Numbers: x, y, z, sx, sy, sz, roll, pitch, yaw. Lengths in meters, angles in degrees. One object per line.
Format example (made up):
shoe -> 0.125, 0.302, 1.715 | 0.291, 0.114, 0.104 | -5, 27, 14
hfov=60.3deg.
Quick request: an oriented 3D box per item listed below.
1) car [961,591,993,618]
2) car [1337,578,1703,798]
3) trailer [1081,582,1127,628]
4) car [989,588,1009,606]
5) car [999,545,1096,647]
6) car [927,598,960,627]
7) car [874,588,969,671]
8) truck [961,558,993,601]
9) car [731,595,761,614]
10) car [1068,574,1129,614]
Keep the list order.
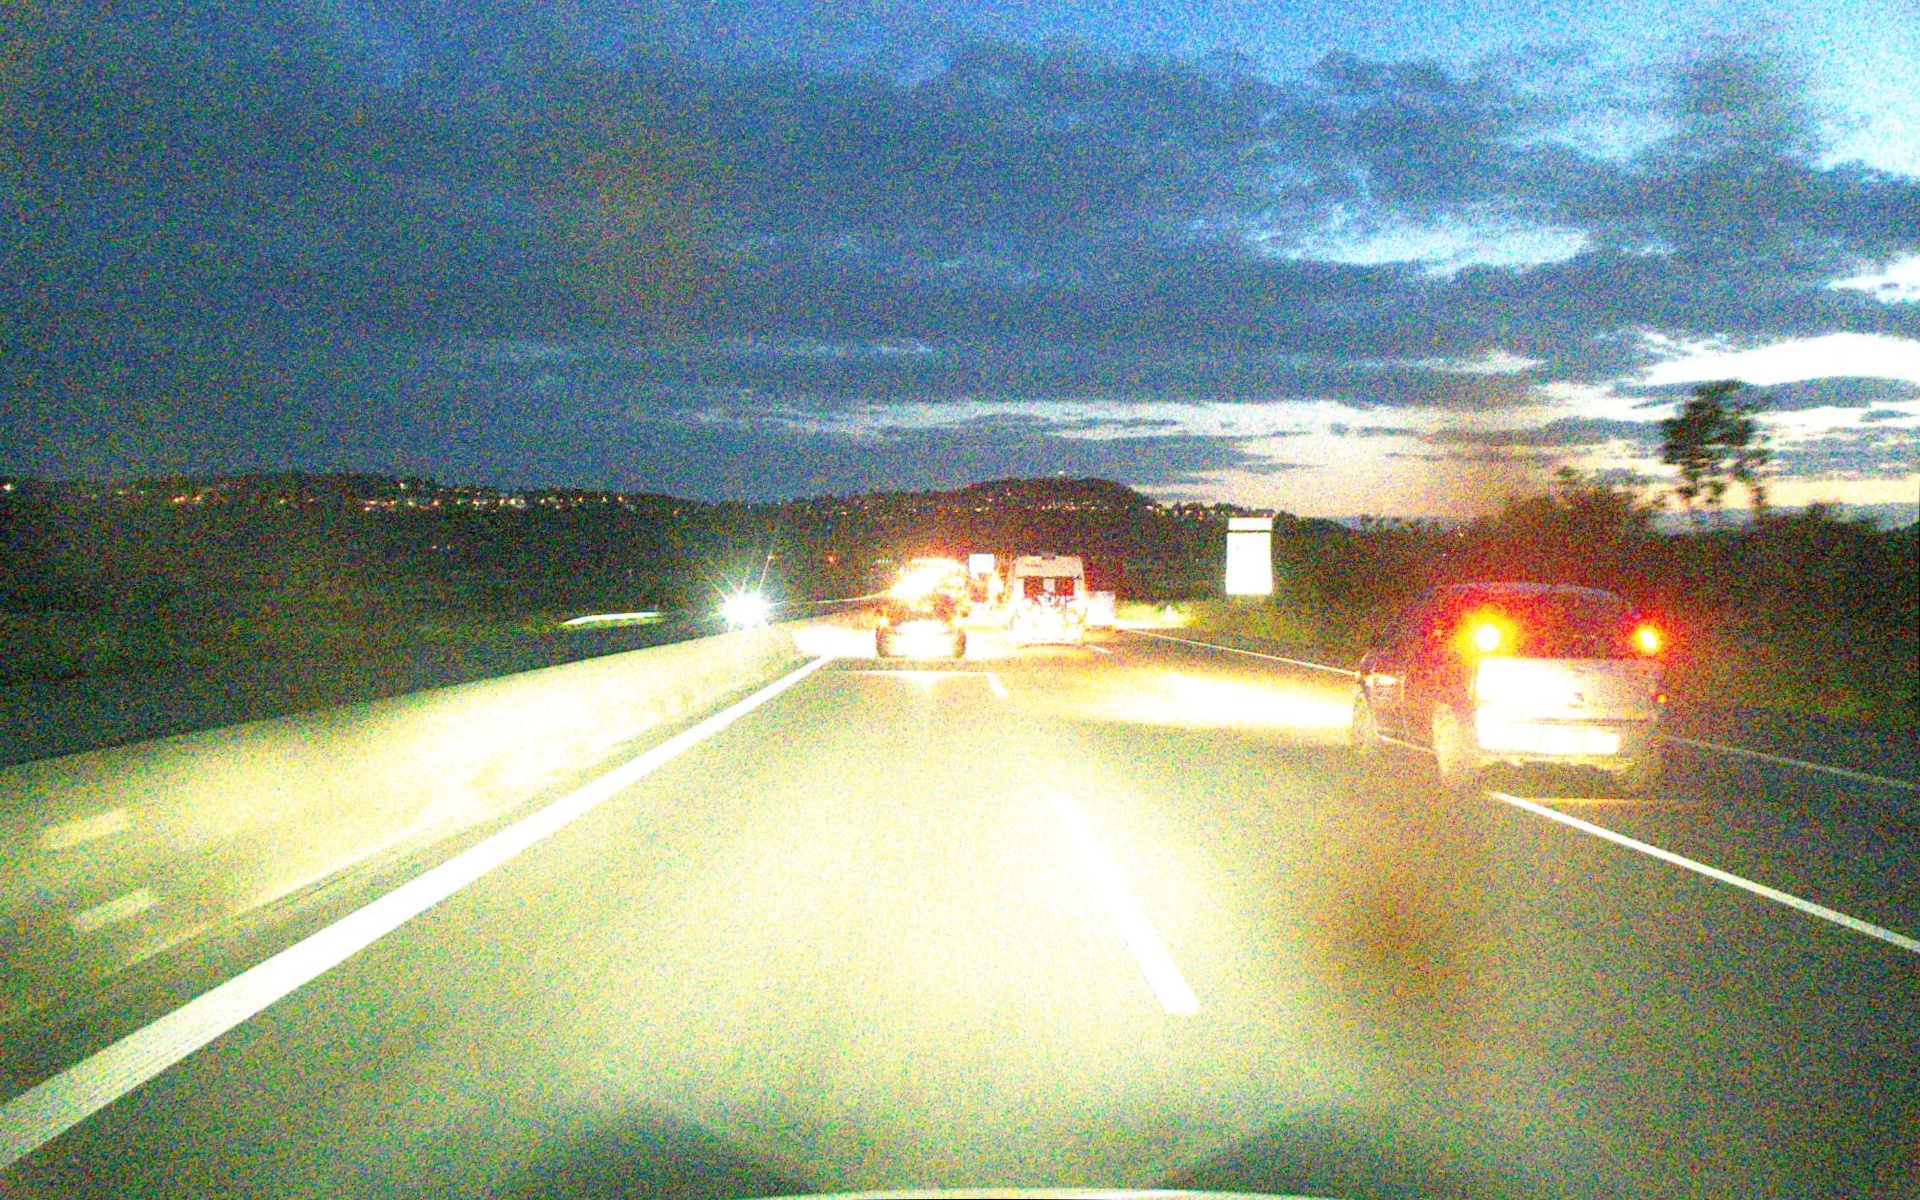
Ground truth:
car -> 1.264, 0.318, 123.003 | 2.303, 1.947, 4.722 | -1, 0, 0
car -> 4.655, 0.641, 14.480 | 1.613, 1.624, 4.509 | 0, 0, -1
trailer -> 5.597, 0.186, 64.517 | 1.534, 1.723, 2.820 | -1, 0, -1
car -> 4.727, -0.349, 201.137 | 2.303, 2.112, 4.723 | -1, 1, 0
car -> 2.334, -0.143, 45.692 | 2.303, 2.579, 5.701 | -1, 1, 0
car -> -0.886, 0.640, 89.665 | 1.709, 1.465, 4.367 | -1, 1, 0
car -> -0.713, 0.536, 32.658 | 1.757, 1.494, 3.773 | 0, 1, 0
truck -> 1.604, -1.924, 158.846 | 2.725, 4.024, 7.990 | -1, 0, -2
car -> -17.742, 0.328, 137.567 | 1.954, 1.444, 4.981 | -3, 0, -2
car -> 5.665, -0.271, 68.203 | 2.118, 1.591, 4.722 | 0, 0, 0
